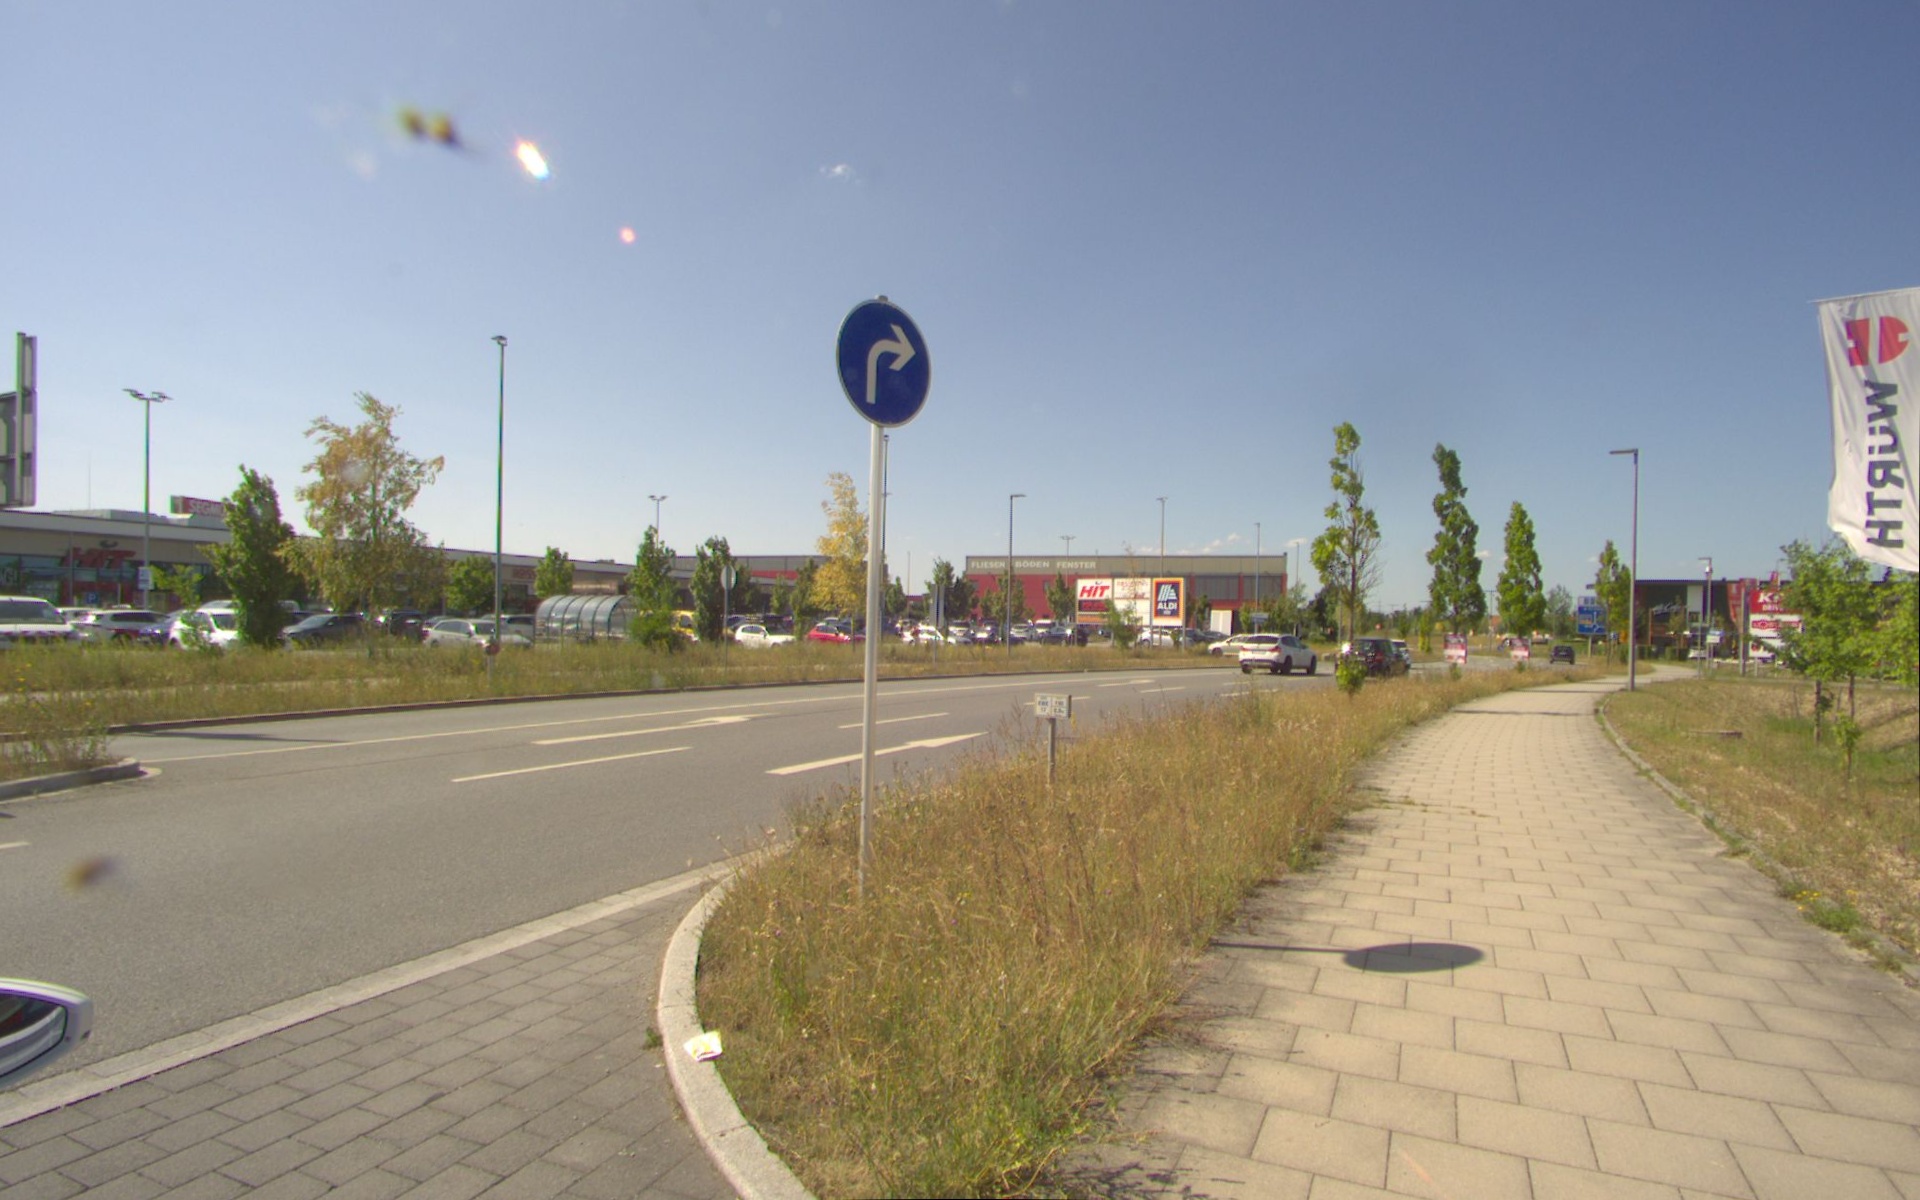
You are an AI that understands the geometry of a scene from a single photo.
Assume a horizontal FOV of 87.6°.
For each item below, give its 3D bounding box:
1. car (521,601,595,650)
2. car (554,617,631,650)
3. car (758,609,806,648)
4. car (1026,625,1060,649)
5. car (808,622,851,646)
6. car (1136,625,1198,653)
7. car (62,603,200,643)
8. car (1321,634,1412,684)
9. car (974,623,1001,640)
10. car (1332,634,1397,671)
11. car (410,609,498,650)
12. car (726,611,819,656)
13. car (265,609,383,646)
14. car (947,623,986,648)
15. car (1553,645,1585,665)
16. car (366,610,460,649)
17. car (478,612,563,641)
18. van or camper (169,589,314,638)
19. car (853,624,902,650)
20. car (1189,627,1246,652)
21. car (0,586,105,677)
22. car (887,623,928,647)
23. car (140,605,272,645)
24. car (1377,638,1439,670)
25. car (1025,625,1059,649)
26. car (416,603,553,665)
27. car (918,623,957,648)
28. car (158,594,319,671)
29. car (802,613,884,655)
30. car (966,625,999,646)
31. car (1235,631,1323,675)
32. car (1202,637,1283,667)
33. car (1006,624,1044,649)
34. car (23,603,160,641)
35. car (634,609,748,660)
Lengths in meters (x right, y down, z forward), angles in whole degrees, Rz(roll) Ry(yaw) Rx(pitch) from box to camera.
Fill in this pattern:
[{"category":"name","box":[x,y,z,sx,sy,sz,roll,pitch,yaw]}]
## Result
[{"category":"car","box":[-24.531,1.562,61.317,1.963,2.857,4.482,0,-1,14]},{"category":"car","box":[-22.008,1.997,60.151,1.965,1.887,4.478,0,-2,20]},{"category":"car","box":[-13.498,2.177,76.231,1.963,2.857,4.482,0,-1,14]},{"category":"car","box":[7.533,3.301,90.226,1.965,2.064,4.478,0,-2,20]},{"category":"car","box":[-11.737,3.035,90.285,1.965,2.064,4.478,0,-2,20]},{"category":"car","box":[16.332,3.074,78.986,4.419,2.064,1.991,0,-2,32]},{"category":"car","box":[-31.274,0.868,37.910,1.700,1.408,3.728,1,-1,16]},{"category":"car","box":[14.015,1.971,34.432,1.974,1.570,3.818,1,-1,37]},{"category":"car","box":[3.423,3.884,124.007,1.965,2.064,4.478,0,-2,20]},{"category":"car","box":[18.394,2.367,45.439,1.720,1.571,3.757,0,-2,39]},{"category":"car","box":[-28.335,1.672,56.282,1.963,2.219,4.482,0,-2,14]},{"category":"car","box":[-9.045,1.589,48.199,4.352,2.039,1.932,1,-1,37]},{"category":"car","box":[-27.343,1.205,43.204,1.842,1.527,3.993,0,-2,21]},{"category":"car","box":[0.612,3.101,86.888,1.965,2.064,4.478,0,-2,20]},{"category":"car","box":[49.907,4.457,82.066,1.889,1.571,4.361,0,-2,36]},{"category":"car","box":[-31.217,1.708,57.296,1.967,2.129,4.473,0,-2,24]},{"category":"car","box":[-23.783,1.454,54.403,1.627,1.539,4.342,0,-2,21]},{"category":"van or camper","box":[-32.285,0.619,45.189,1.966,2.040,5.041,1,-1,22]},{"category":"car","box":[-6.061,2.738,74.021,1.965,1.807,4.309,0,-2,20]},{"category":"car","box":[22.513,3.425,87.526,4.419,2.064,1.991,0,-2,32]},{"category":"car","box":[-23.375,0.714,24.397,5.146,2.040,2.080,1,-1,28]},{"category":"car","box":[-4.587,3.068,88.140,1.965,2.064,4.478,0,-2,20]},{"category":"car","box":[-28.502,0.948,37.973,1.700,1.408,3.728,1,-1,16]},{"category":"car","box":[23.558,2.795,52.539,1.922,1.571,4.730,0,-2,37]},{"category":"car","box":[7.409,3.300,90.256,1.965,2.064,4.478,0,-2,20]},{"category":"car","box":[-17.007,1.159,35.752,5.044,2.040,2.153,1,-1,34]},{"category":"car","box":[-1.942,3.081,87.398,1.965,2.064,4.478,0,-2,20]},{"category":"car","box":[-20.954,0.895,29.019,5.044,2.040,2.153,1,-1,34]},{"category":"car","box":[-6.091,1.755,52.075,4.087,2.039,1.870,0,-1,39]},{"category":"car","box":[2.293,3.554,100.756,1.965,2.064,4.478,0,-2,20]},{"category":"car","box":[12.361,2.026,38.682,1.720,1.571,4.538,0,-2,39]},{"category":"car","box":[17.519,3.208,62.091,4.430,1.737,1.986,-1,-2,39]},{"category":"car","box":[5.519,3.095,84.504,1.965,2.064,4.478,0,-2,20]},{"category":"car","box":[-33.949,0.853,39.266,1.700,1.408,3.728,1,-1,16]},{"category":"car","box":[-11.850,1.486,44.007,5.049,2.040,2.151,0,-1,37]}]
